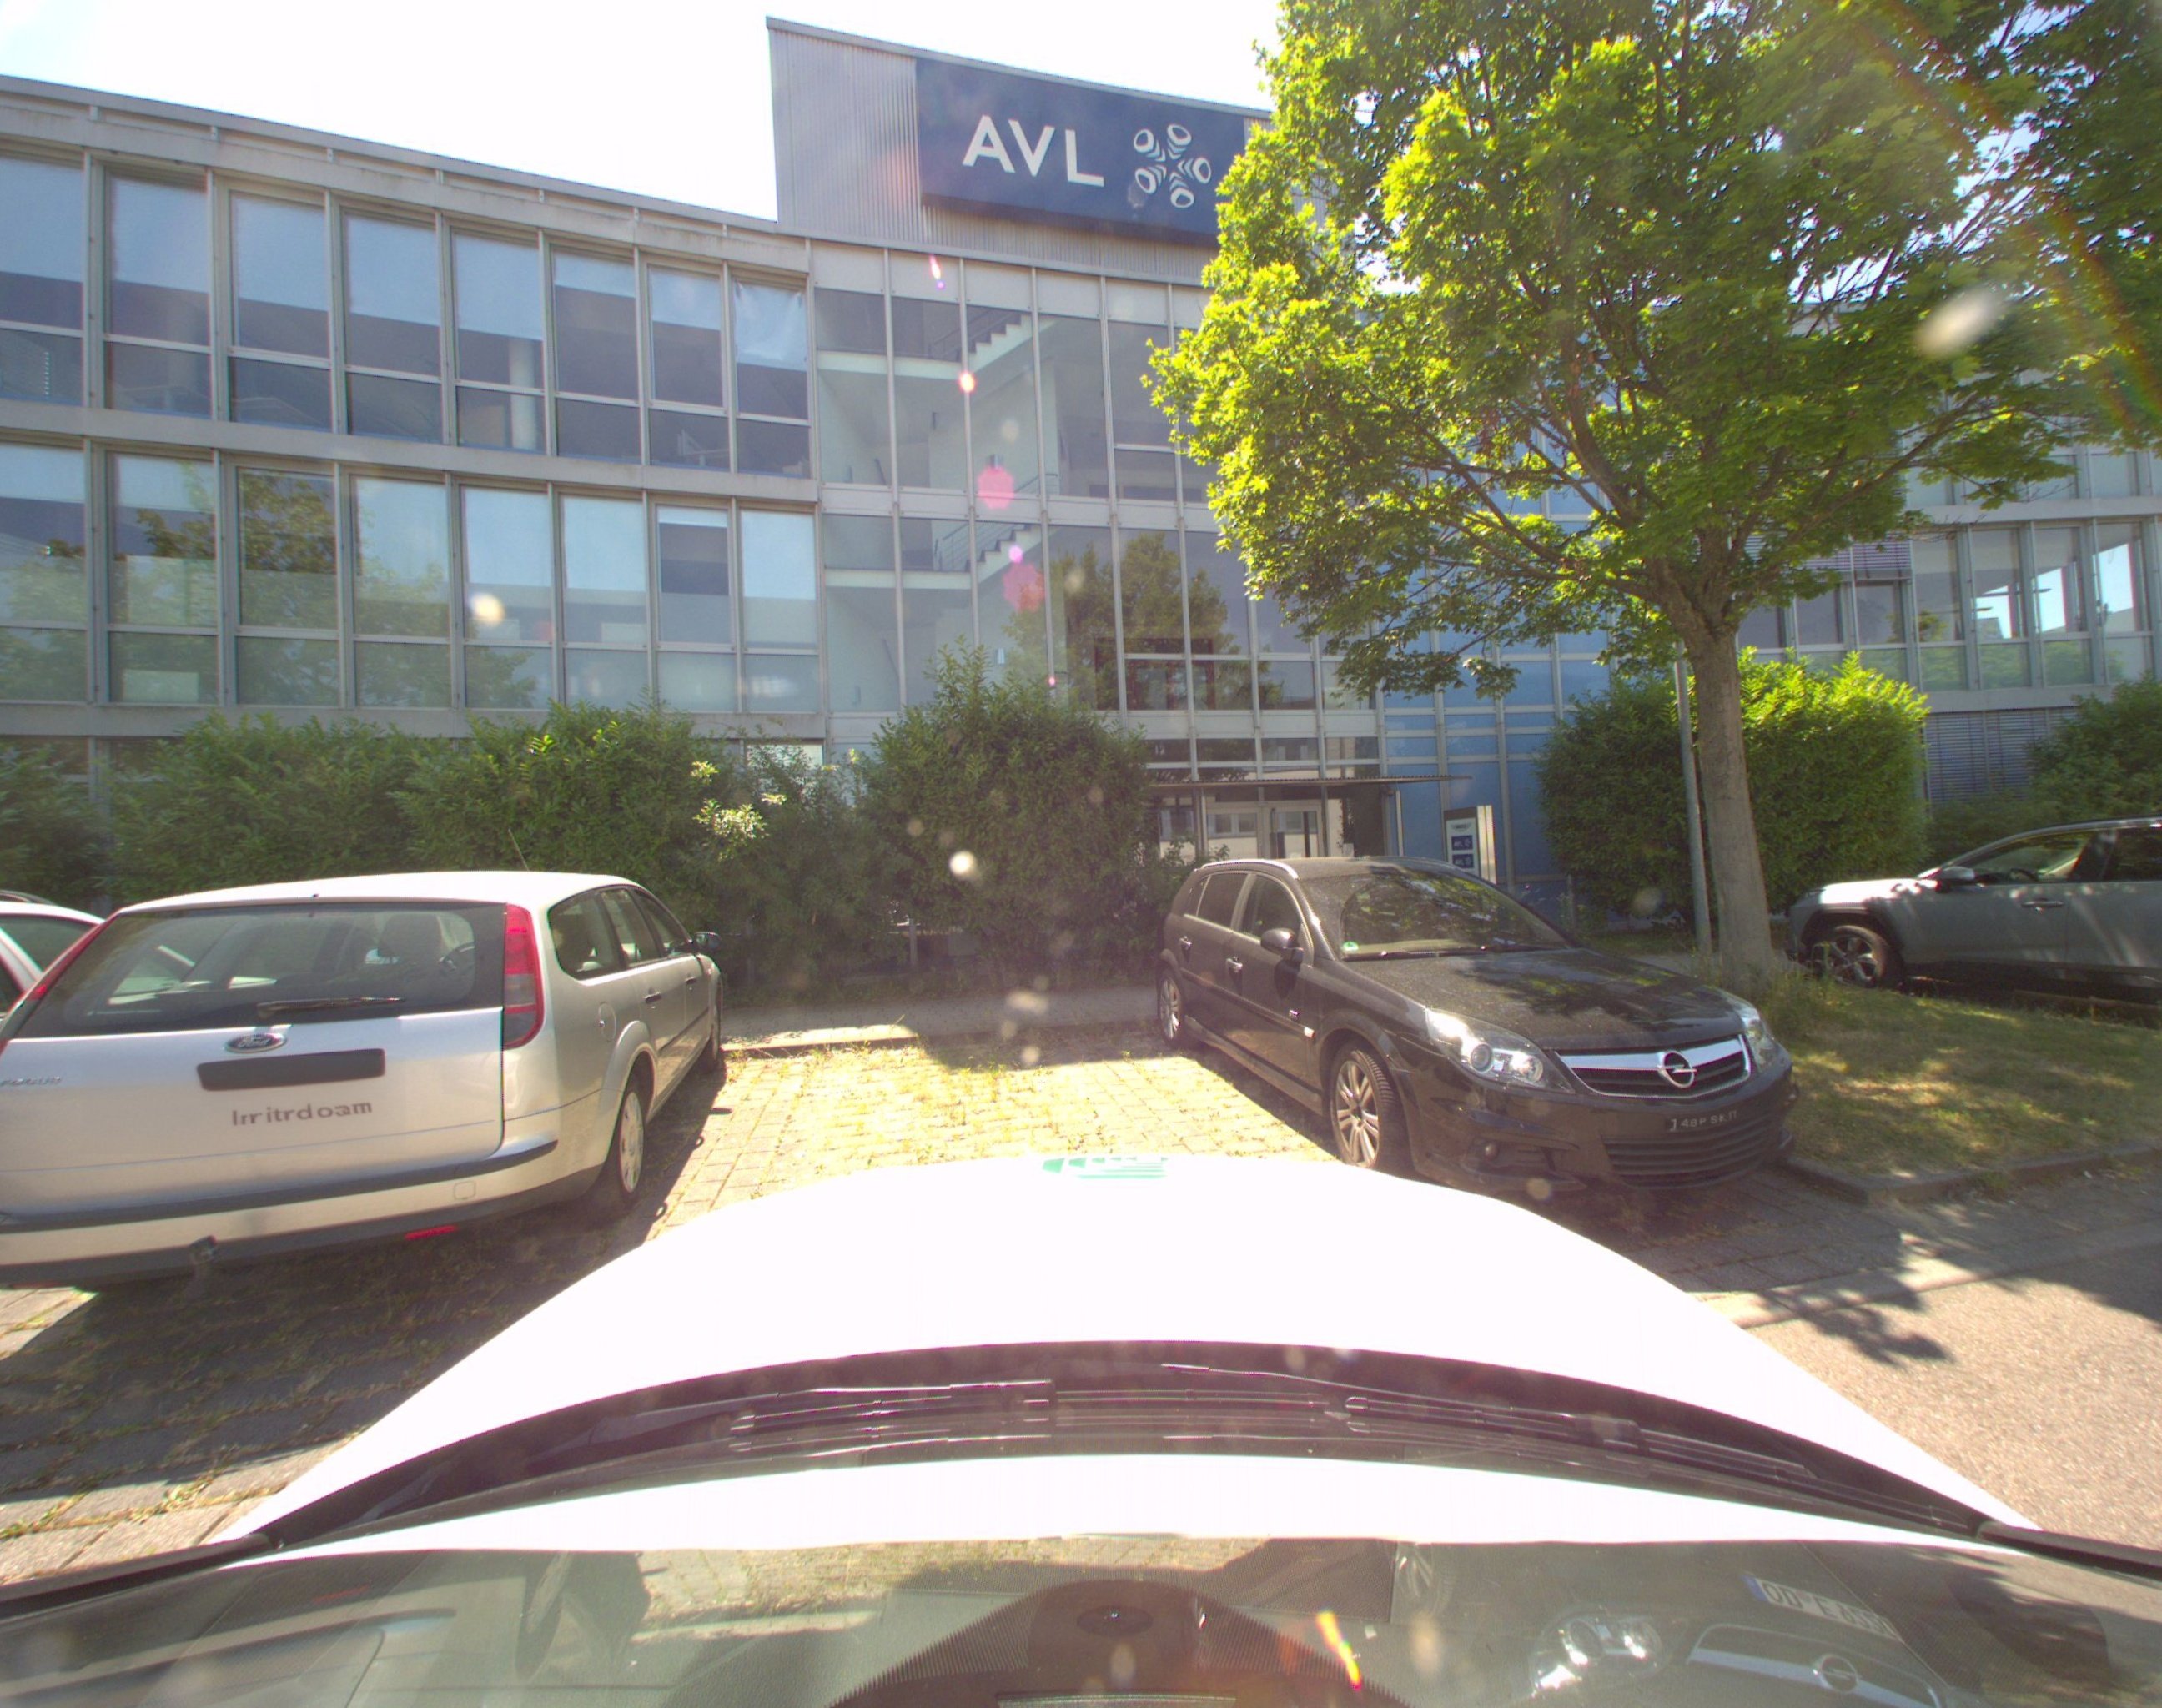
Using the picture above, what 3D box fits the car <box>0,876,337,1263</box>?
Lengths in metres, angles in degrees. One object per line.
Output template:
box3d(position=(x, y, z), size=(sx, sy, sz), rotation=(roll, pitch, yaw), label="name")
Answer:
box3d(position=(-5.071, 0.855, 3.243), size=(1.652, 1.479, 3.867), rotation=(-1, -1, -18), label="car")

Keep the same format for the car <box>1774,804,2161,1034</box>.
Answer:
box3d(position=(8.527, 0.445, 6.571), size=(1.851, 1.643, 4.319), rotation=(-1, 0, -9), label="car")

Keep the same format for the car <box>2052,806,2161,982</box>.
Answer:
box3d(position=(11.127, 0.359, 6.440), size=(1.655, 1.643, 4.190), rotation=(-1, 0, -9), label="car")

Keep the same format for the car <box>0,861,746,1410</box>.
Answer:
box3d(position=(-3.072, 0.827, 4.481), size=(1.723, 1.479, 4.325), rotation=(-1, -1, -15), label="car")

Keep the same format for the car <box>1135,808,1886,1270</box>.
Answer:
box3d(position=(1.780, 0.662, 5.183), size=(1.759, 1.549, 4.548), rotation=(-1, -1, -11), label="car")
